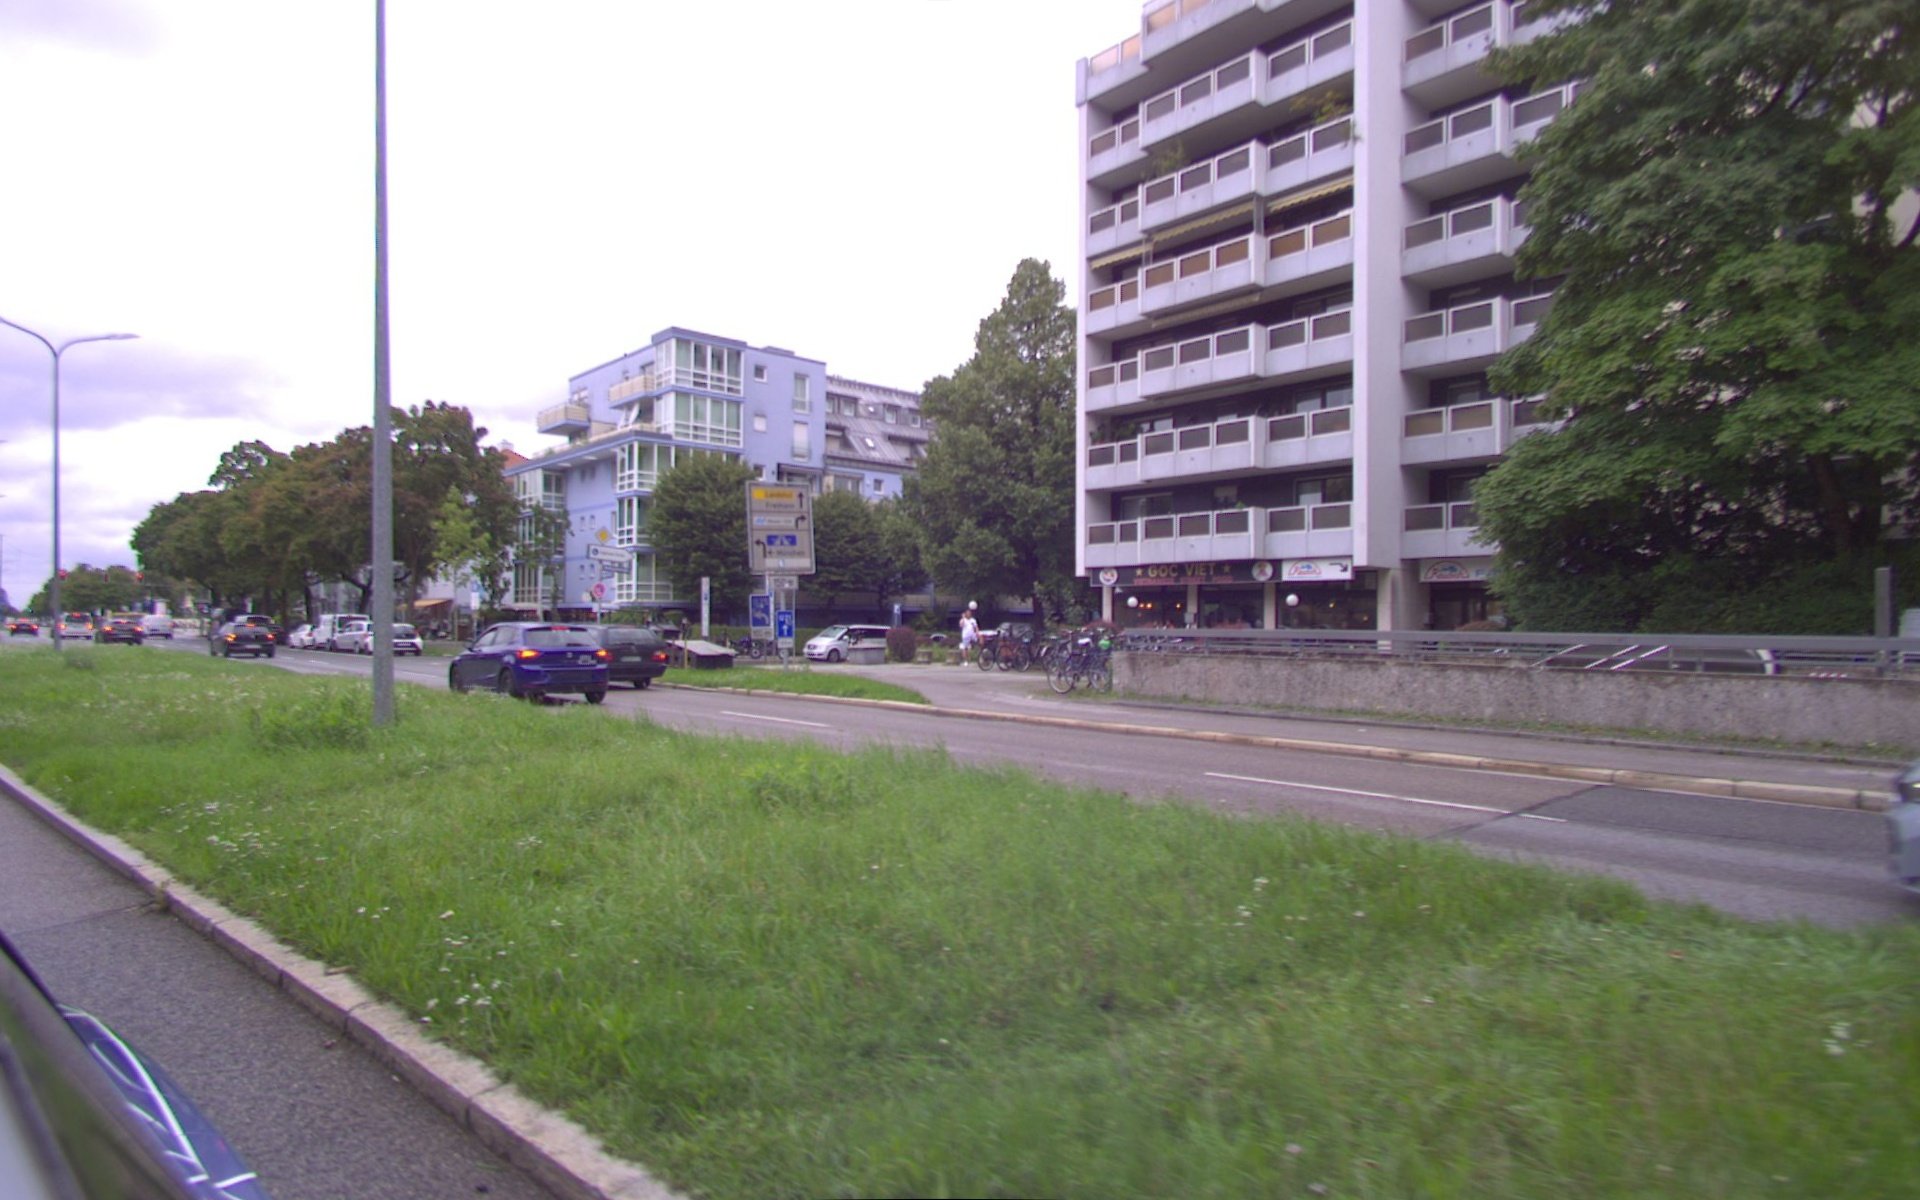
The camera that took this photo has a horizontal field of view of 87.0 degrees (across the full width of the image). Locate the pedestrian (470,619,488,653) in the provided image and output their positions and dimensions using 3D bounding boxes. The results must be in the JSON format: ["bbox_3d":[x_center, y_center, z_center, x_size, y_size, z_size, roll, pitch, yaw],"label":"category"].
[{"bbox_3d":[-26.108,1.973,54.923,0.780,1.819,0.635,-2,-3,43],"label":"pedestrian"}]

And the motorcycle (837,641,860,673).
[{"bbox_3d":[-3.947,1.992,35.845,0.412,1.095,1.789,1,-2,-19],"label":"motorcycle"}]

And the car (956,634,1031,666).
[{"bbox_3d":[1.936,2.810,57.393,2.001,1.695,4.199,-2,-3,44],"label":"car"}]

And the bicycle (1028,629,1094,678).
[{"bbox_3d":[2.670,1.379,26.667,1.924,1.111,0.490,-4,1,-41],"label":"bicycle"}]

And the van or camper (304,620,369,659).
[{"bbox_3d":[-33.084,2.075,53.622,1.784,1.983,5.214,2,-3,-44],"label":"van or camper"}]

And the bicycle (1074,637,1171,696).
[{"bbox_3d":[3.060,1.241,19.262,0.403,1.048,1.957,-4,1,-42],"label":"bicycle"}]

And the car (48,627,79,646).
[{"bbox_3d":[-73.295,2.980,82.744,1.770,1.459,3.675,2,-3,-44],"label":"car"}]

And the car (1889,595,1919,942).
[{"bbox_3d":[6.474,0.709,3.392,1.893,1.496,4.867,2,-3,-45],"label":"car"}]

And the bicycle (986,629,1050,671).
[{"bbox_3d":[1.621,1.376,27.961,1.923,1.112,0.561,2,-3,-41],"label":"bicycle"}]

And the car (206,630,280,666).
[{"bbox_3d":[-29.374,1.934,41.418,4.103,1.416,1.762,-2,-3,44],"label":"car"}]

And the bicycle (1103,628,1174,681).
[{"bbox_3d":[4.367,1.314,24.632,1.924,1.111,0.561,-4,1,-41],"label":"bicycle"}]

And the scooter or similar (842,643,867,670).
[{"bbox_3d":[-3.931,2.102,37.803,0.440,0.966,1.142,-1,-2,23],"label":"scooter or similar"}]

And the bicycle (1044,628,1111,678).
[{"bbox_3d":[3.052,1.346,26.169,1.924,1.111,0.490,-4,1,-41],"label":"bicycle"}]

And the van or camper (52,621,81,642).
[{"bbox_3d":[-78.937,2.771,89.384,1.770,1.811,4.128,2,-3,-43],"label":"van or camper"}]

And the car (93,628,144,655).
[{"bbox_3d":[-48.146,2.361,57.892,1.934,1.491,4.262,2,-3,-43],"label":"car"}]

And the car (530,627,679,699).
[{"bbox_3d":[-8.215,1.386,23.207,3.969,1.496,1.672,-2,-3,45],"label":"car"}]

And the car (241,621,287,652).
[{"bbox_3d":[-46.801,2.419,68.029,1.775,2.013,4.550,2,-3,-43],"label":"car"}]

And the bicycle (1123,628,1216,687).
[{"bbox_3d":[4.216,1.150,20.508,0.403,1.112,1.957,-4,1,-42],"label":"bicycle"}]

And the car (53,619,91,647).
[{"bbox_3d":[-66.765,2.472,76.075,1.917,2.013,4.708,2,-3,-43],"label":"car"}]

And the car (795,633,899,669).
[{"bbox_3d":[-5.565,2.495,50.483,2.001,1.695,5.044,-2,-3,44],"label":"car"}]

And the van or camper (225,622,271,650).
[{"bbox_3d":[-50.951,2.553,72.416,1.997,1.957,4.708,2,-3,-43],"label":"van or camper"}]

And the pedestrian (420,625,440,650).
[{"bbox_3d":[-34.664,2.433,66.236,0.959,1.615,0.769,1,-2,-14],"label":"pedestrian"}]

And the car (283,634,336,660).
[{"bbox_3d":[-37.410,2.690,58.156,4.336,1.405,1.656,-2,-3,45],"label":"car"}]

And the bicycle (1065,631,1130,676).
[{"bbox_3d":[3.505,1.345,25.648,1.923,1.112,0.490,2,-3,-41],"label":"bicycle"}]

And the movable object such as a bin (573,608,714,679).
[{"bbox_3d":[-9.390,1.266,29.950,3.997,1.968,2.170,-1,-2,40],"label":"movable object such as a bin"}]

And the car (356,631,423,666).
[{"bbox_3d":[-26.064,2.188,46.189,3.903,1.501,1.628,-2,-3,44],"label":"car"}]

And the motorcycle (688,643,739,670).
[{"bbox_3d":[-11.185,2.551,45.926,2.463,1.141,0.494,0,-2,24],"label":"motorcycle"}]

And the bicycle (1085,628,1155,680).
[{"bbox_3d":[3.990,1.321,25.186,1.924,1.111,0.561,-4,1,-41],"label":"bicycle"}]

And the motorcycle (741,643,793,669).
[{"bbox_3d":[-9.070,2.627,47.630,2.457,1.141,0.495,0,-2,18],"label":"motorcycle"}]

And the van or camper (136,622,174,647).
[{"bbox_3d":[-68.373,2.908,85.951,1.992,2.031,5.202,2,-3,-44],"label":"van or camper"}]

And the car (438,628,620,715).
[{"bbox_3d":[-7.915,1.227,18.409,3.969,1.413,1.672,-2,-3,45],"label":"car"}]

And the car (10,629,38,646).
[{"bbox_3d":[-82.059,3.277,88.717,1.736,1.459,3.675,2,-3,-44],"label":"car"}]

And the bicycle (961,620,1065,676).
[{"bbox_3d":[1.543,1.332,28.880,3.286,1.293,0.789,-4,1,-41],"label":"bicycle"}]

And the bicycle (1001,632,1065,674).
[{"bbox_3d":[1.993,1.431,27.502,1.923,1.112,0.561,2,-3,-41],"label":"bicycle"}]

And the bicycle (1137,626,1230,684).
[{"bbox_3d":[4.577,1.114,20.869,0.403,1.105,1.957,-4,1,-42],"label":"bicycle"}]

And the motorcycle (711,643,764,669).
[{"bbox_3d":[-10.280,2.566,46.704,2.458,1.141,0.495,0,-2,19],"label":"motorcycle"}]

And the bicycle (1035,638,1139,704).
[{"bbox_3d":[2.271,1.257,18.367,0.403,1.097,2.087,-4,1,-41],"label":"bicycle"}]

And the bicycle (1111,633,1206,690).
[{"bbox_3d":[3.891,1.195,20.017,0.403,1.038,1.957,-4,1,-42],"label":"bicycle"}]

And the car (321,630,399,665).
[{"bbox_3d":[-29.463,2.288,49.663,4.658,1.628,1.682,-1,-3,38],"label":"car"}]

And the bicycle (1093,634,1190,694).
[{"bbox_3d":[3.487,1.218,19.604,0.403,1.080,1.957,-4,1,-42],"label":"bicycle"}]

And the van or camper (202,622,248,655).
[{"bbox_3d":[-57.590,2.979,79.224,2.026,2.506,5.551,2,-3,-45],"label":"van or camper"}]

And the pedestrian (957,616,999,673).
[{"bbox_3d":[0.548,1.343,30.746,1.130,1.721,0.662,-2,-3,40],"label":"pedestrian"}]

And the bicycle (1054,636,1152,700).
[{"bbox_3d":[2.616,1.235,18.766,0.403,1.086,1.957,-4,1,-42],"label":"bicycle"}]
